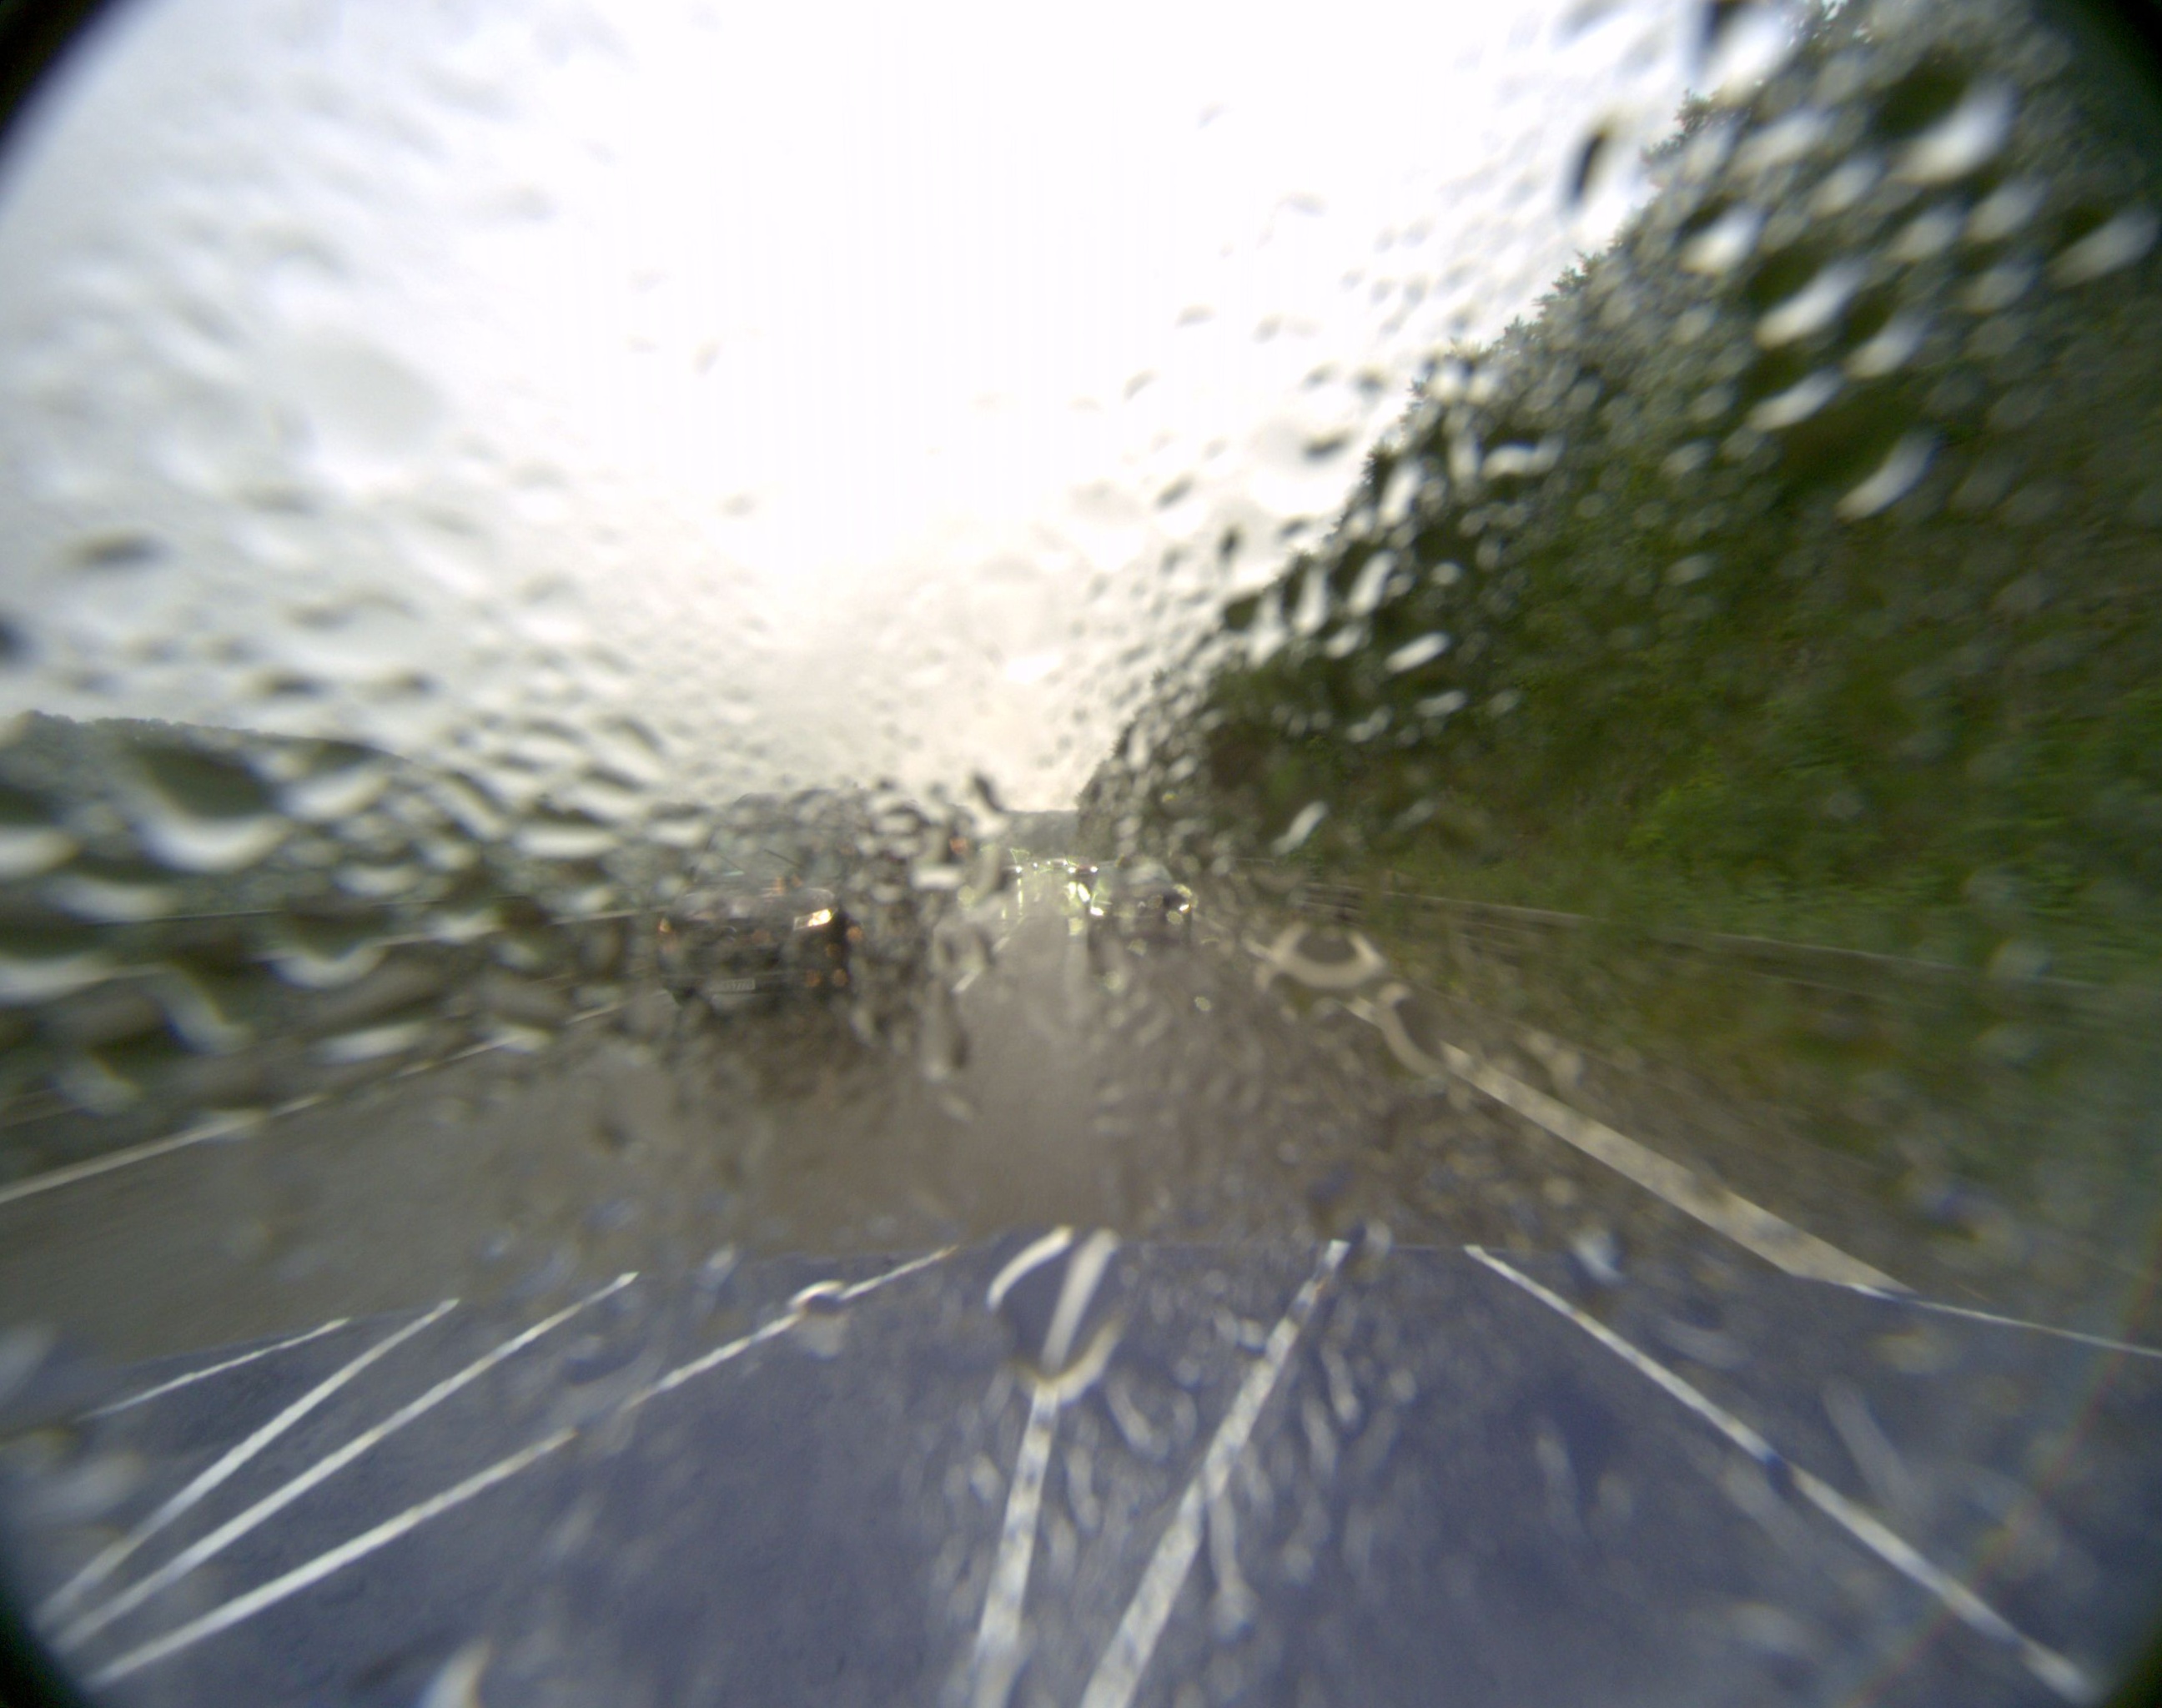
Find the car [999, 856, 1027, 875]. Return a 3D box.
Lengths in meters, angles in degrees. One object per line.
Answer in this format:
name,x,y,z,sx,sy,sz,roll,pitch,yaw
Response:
car,-5.464,0.875,61.109,1.991,1.407,4.563,-2,0,-3

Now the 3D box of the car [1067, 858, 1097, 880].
car,0.018,0.953,48.484,1.713,1.316,3.944,-1,-1,-3

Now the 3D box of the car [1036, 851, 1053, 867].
car,-4.359,0.566,89.853,1.806,1.723,3.764,-2,0,-5

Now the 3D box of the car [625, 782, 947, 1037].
car,-3.536,0.537,10.945,1.999,2.480,6.704,-2,0,-1

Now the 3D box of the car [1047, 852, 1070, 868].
car,-2.319,0.644,78.184,1.907,1.545,4.561,-2,0,-7

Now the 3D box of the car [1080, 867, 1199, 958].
car,0.940,0.972,14.290,1.839,1.316,4.134,-2,0,-1
